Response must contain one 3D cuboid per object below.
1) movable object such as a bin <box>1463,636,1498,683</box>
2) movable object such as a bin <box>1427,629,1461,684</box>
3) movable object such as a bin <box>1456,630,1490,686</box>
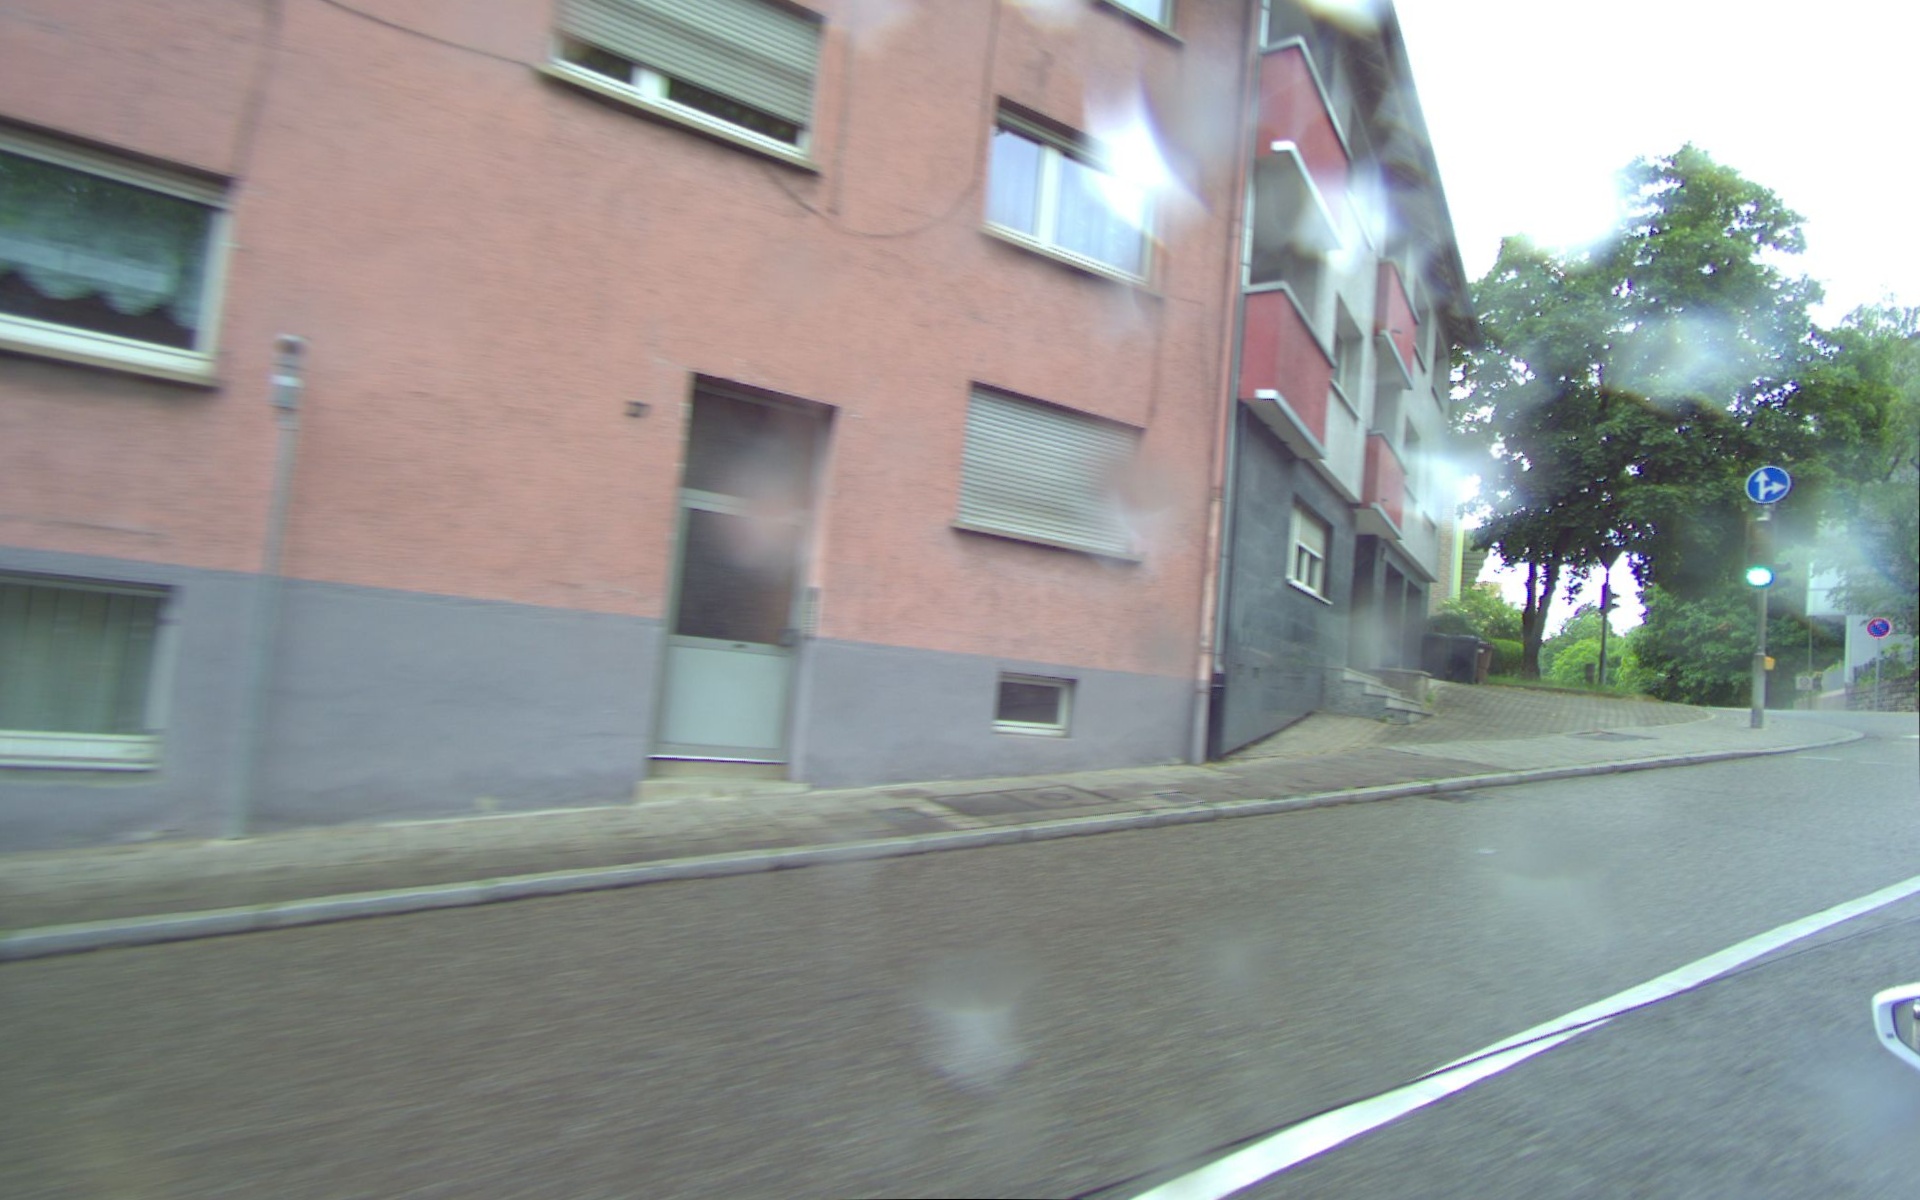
[{"bbox_3d":[11.927,1.359,23.003,0.619,1.029,0.499,2,-1,35],"label":"movable object such as a bin"},{"bbox_3d":[11.017,1.281,22.844,0.552,1.215,0.687,3,-1,34],"label":"movable object such as a bin"},{"bbox_3d":[11.500,1.302,22.530,0.552,1.215,0.687,3,-1,34],"label":"movable object such as a bin"}]
